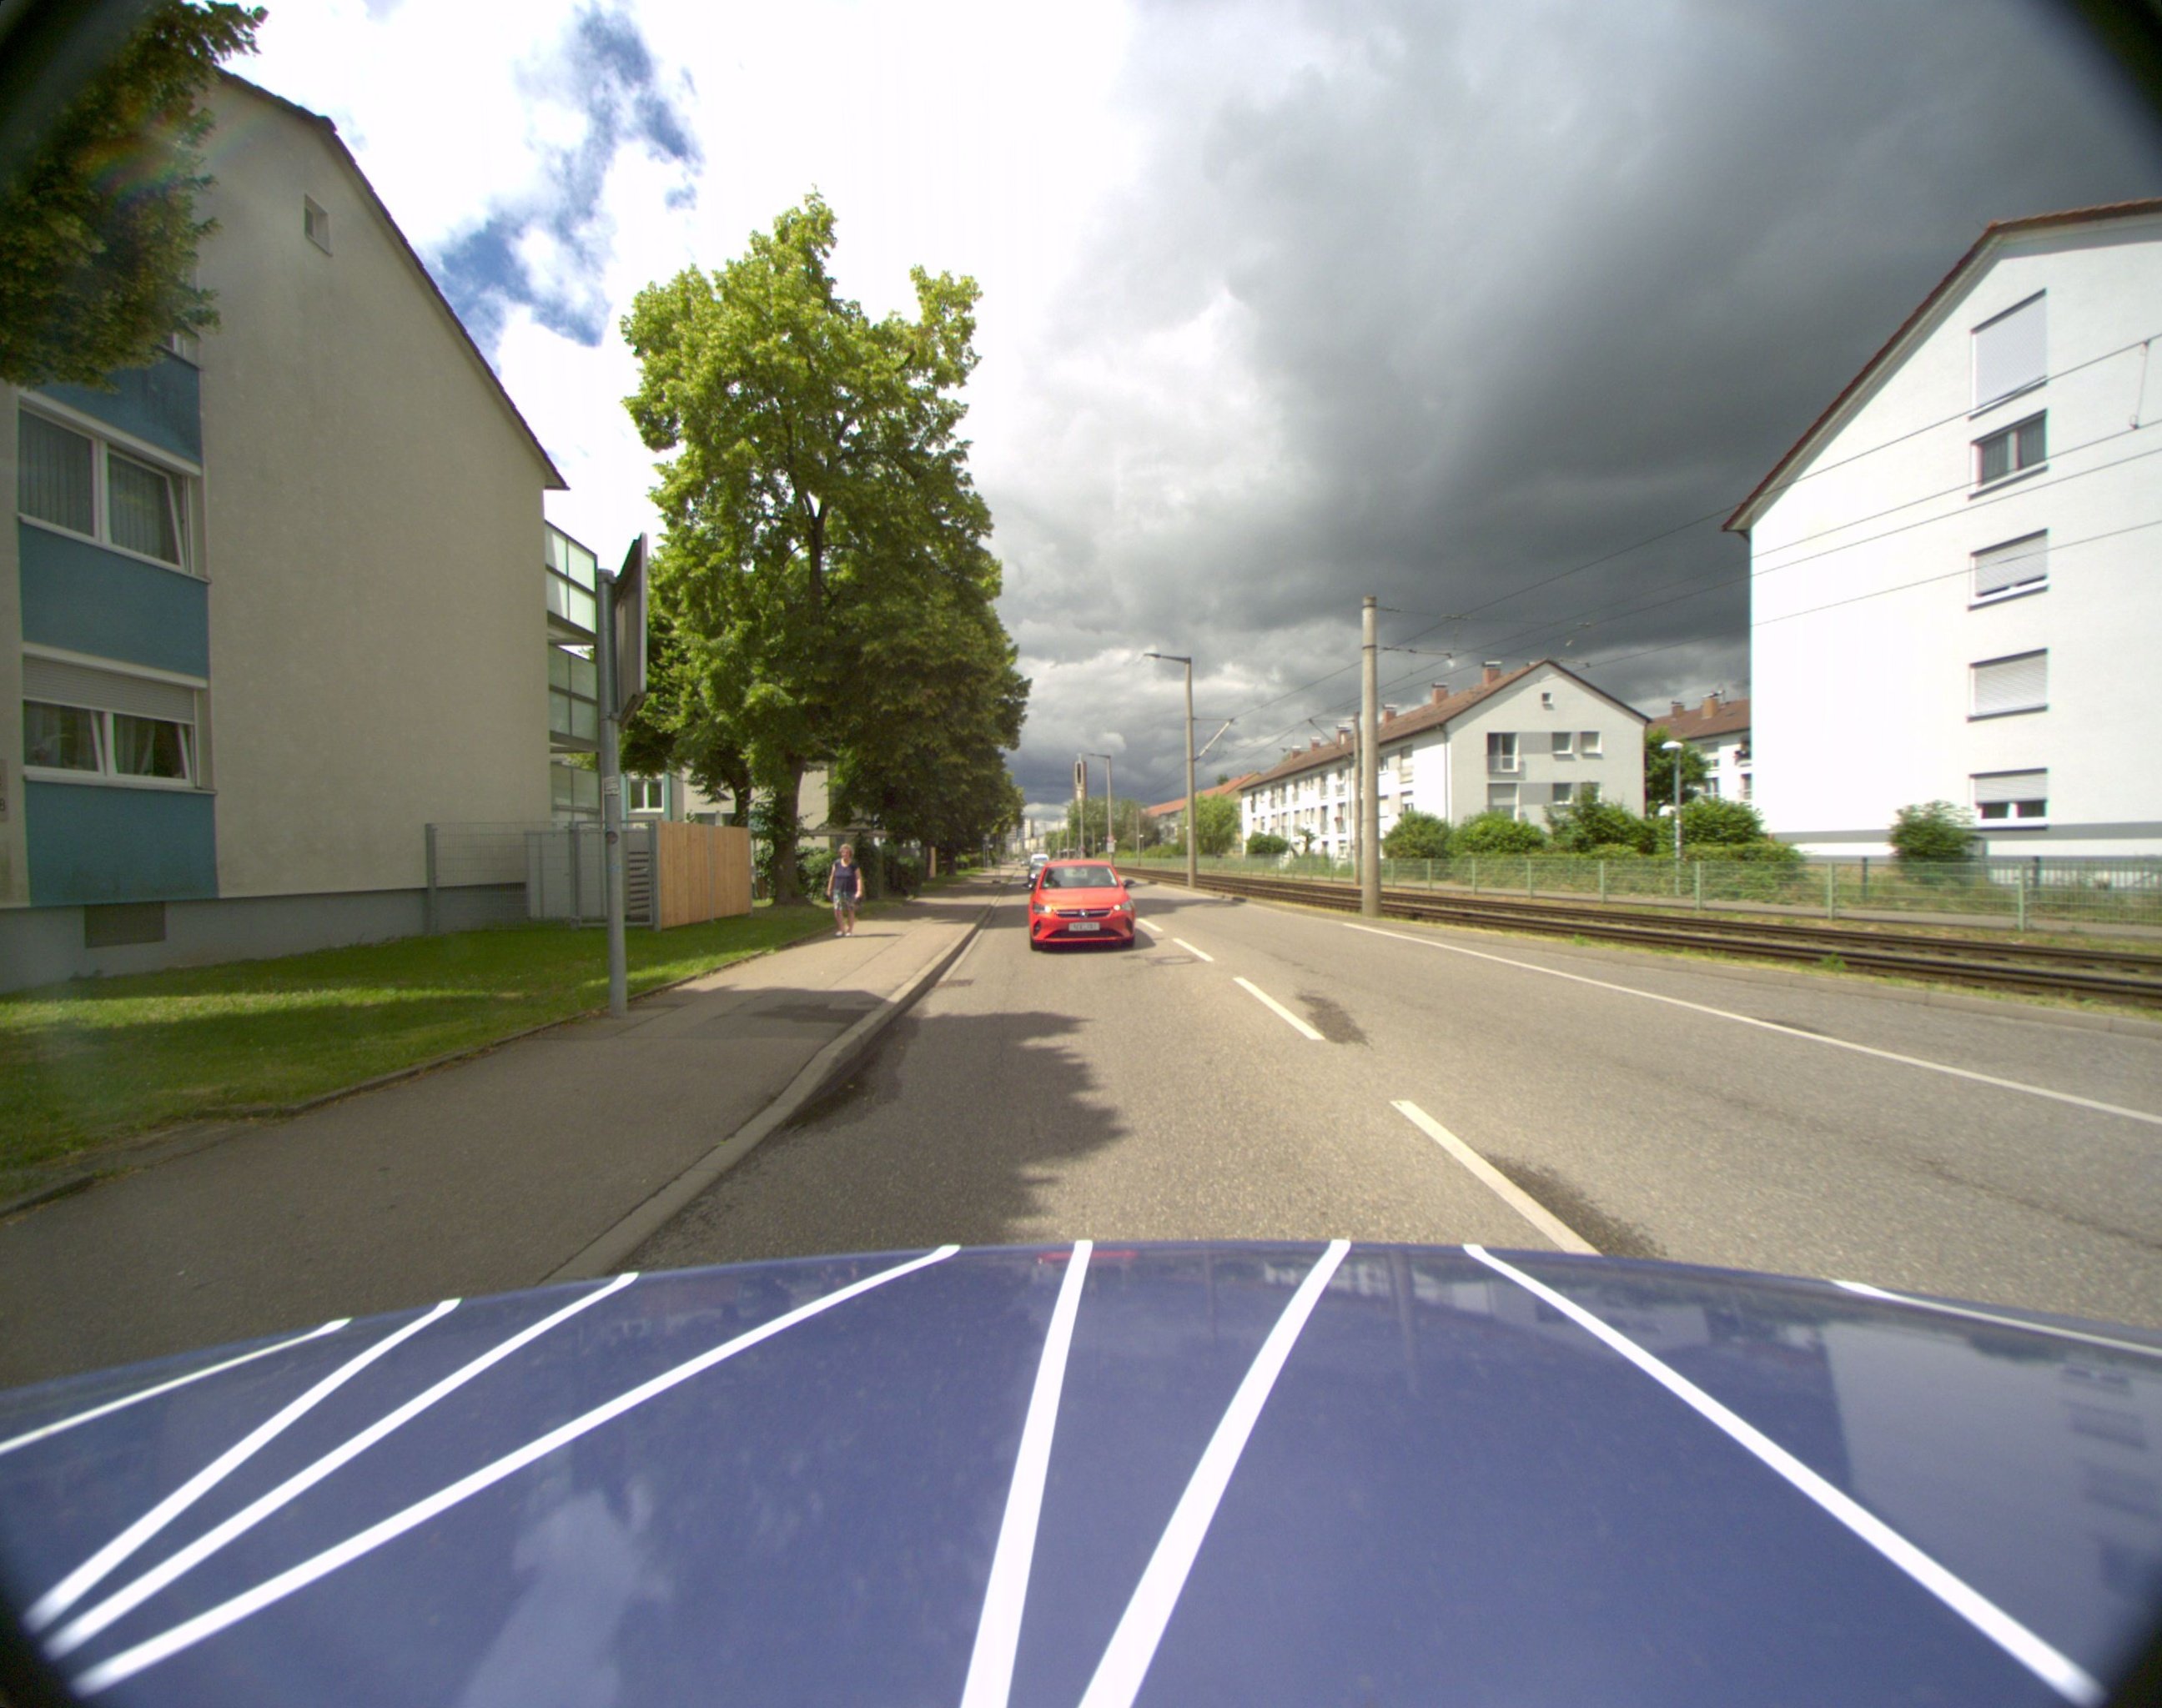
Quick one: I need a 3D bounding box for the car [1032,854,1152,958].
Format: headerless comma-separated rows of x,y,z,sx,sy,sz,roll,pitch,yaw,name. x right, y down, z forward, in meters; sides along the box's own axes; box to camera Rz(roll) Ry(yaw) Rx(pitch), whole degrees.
0.042,0.795,13.635,1.766,1.548,3.998,0,1,-5,car

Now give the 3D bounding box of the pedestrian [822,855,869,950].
-4.267,0.859,13.809,0.684,1.650,0.831,-1,0,-9,pedestrian

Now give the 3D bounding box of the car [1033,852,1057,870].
-3.319,0.651,69.412,2.000,1.598,3.998,0,0,-6,car

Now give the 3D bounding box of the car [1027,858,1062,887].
-1.890,0.941,40.434,1.764,1.389,3.999,0,0,-2,car

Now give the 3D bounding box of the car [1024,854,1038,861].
-8.927,0.616,136.336,1.918,1.309,4.001,0,0,4,car
